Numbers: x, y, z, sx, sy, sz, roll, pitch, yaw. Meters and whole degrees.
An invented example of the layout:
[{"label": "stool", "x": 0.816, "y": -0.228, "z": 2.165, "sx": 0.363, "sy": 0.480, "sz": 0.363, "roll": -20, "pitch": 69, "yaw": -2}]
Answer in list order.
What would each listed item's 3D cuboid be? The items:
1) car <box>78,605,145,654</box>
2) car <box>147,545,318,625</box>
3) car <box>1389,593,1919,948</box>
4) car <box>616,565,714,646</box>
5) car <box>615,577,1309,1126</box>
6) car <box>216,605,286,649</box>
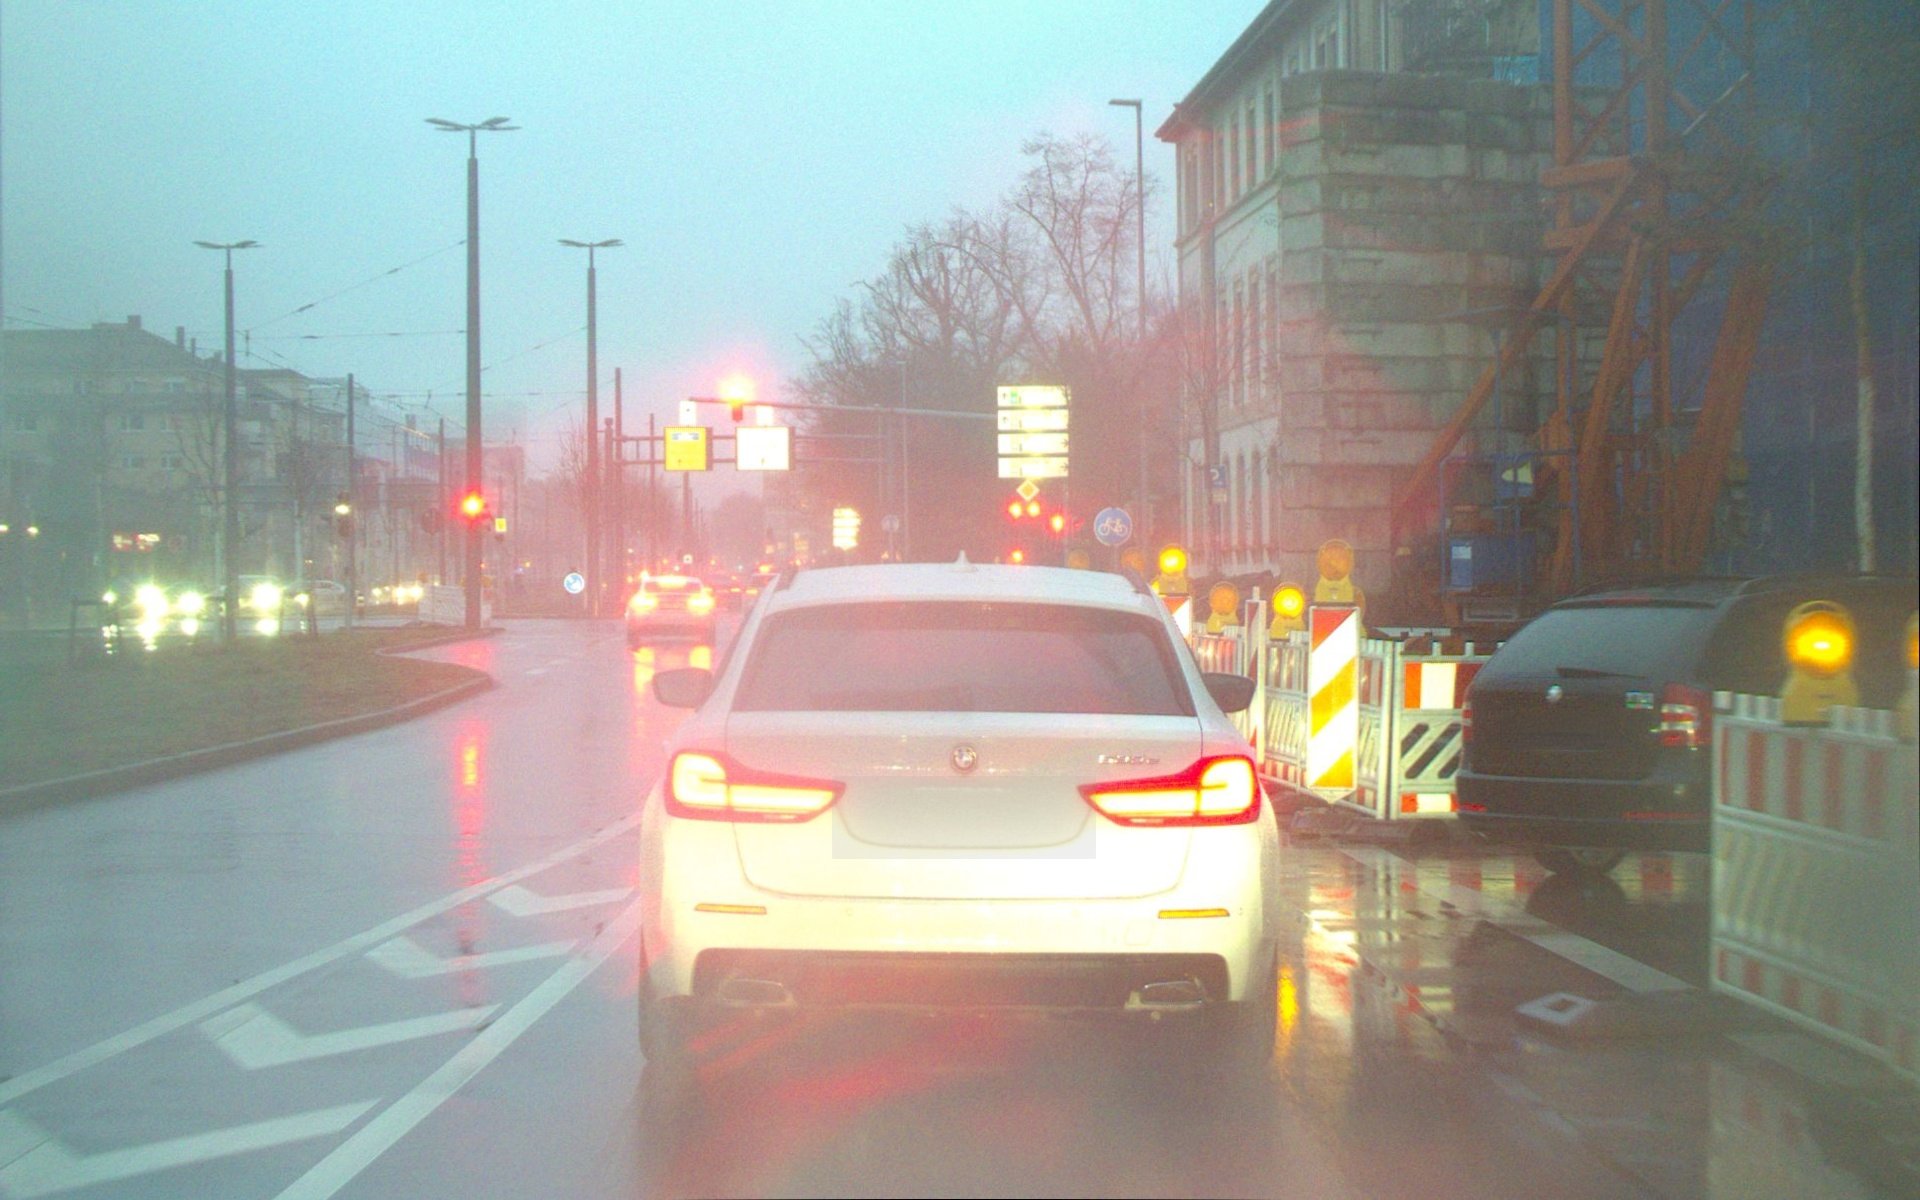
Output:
[{"label": "car", "x": -27.278, "y": 0.931, "z": 110.592, "sx": 1.739, "sy": 1.487, "sz": 3.543, "roll": 1, "pitch": 0, "yaw": -8}, {"label": "car", "x": -18.717, "y": -0.382, "z": 88.434, "sx": 3.986, "sy": 1.968, "sz": 2.001, "roll": 1, "pitch": 0, "yaw": -22}, {"label": "car", "x": 4.242, "y": 0.752, "z": 16.920, "sx": 4.082, "sy": 1.513, "sz": 1.907, "roll": 1, "pitch": 0, "yaw": -39}, {"label": "car", "x": -6.136, "y": 0.098, "z": 71.906, "sx": 1.901, "sy": 1.636, "sz": 4.000, "roll": 1, "pitch": 0, "yaw": -3}, {"label": "car", "x": -0.157, "y": 0.666, "z": 11.728, "sx": 1.851, "sy": 1.460, "sz": 4.947, "roll": 1, "pitch": 0, "yaw": -4}, {"label": "car", "x": -27.925, "y": 1.058, "z": 135.484, "sx": 1.858, "sy": 1.634, "sz": 4.032, "roll": 1, "pitch": 0, "yaw": 1}]
